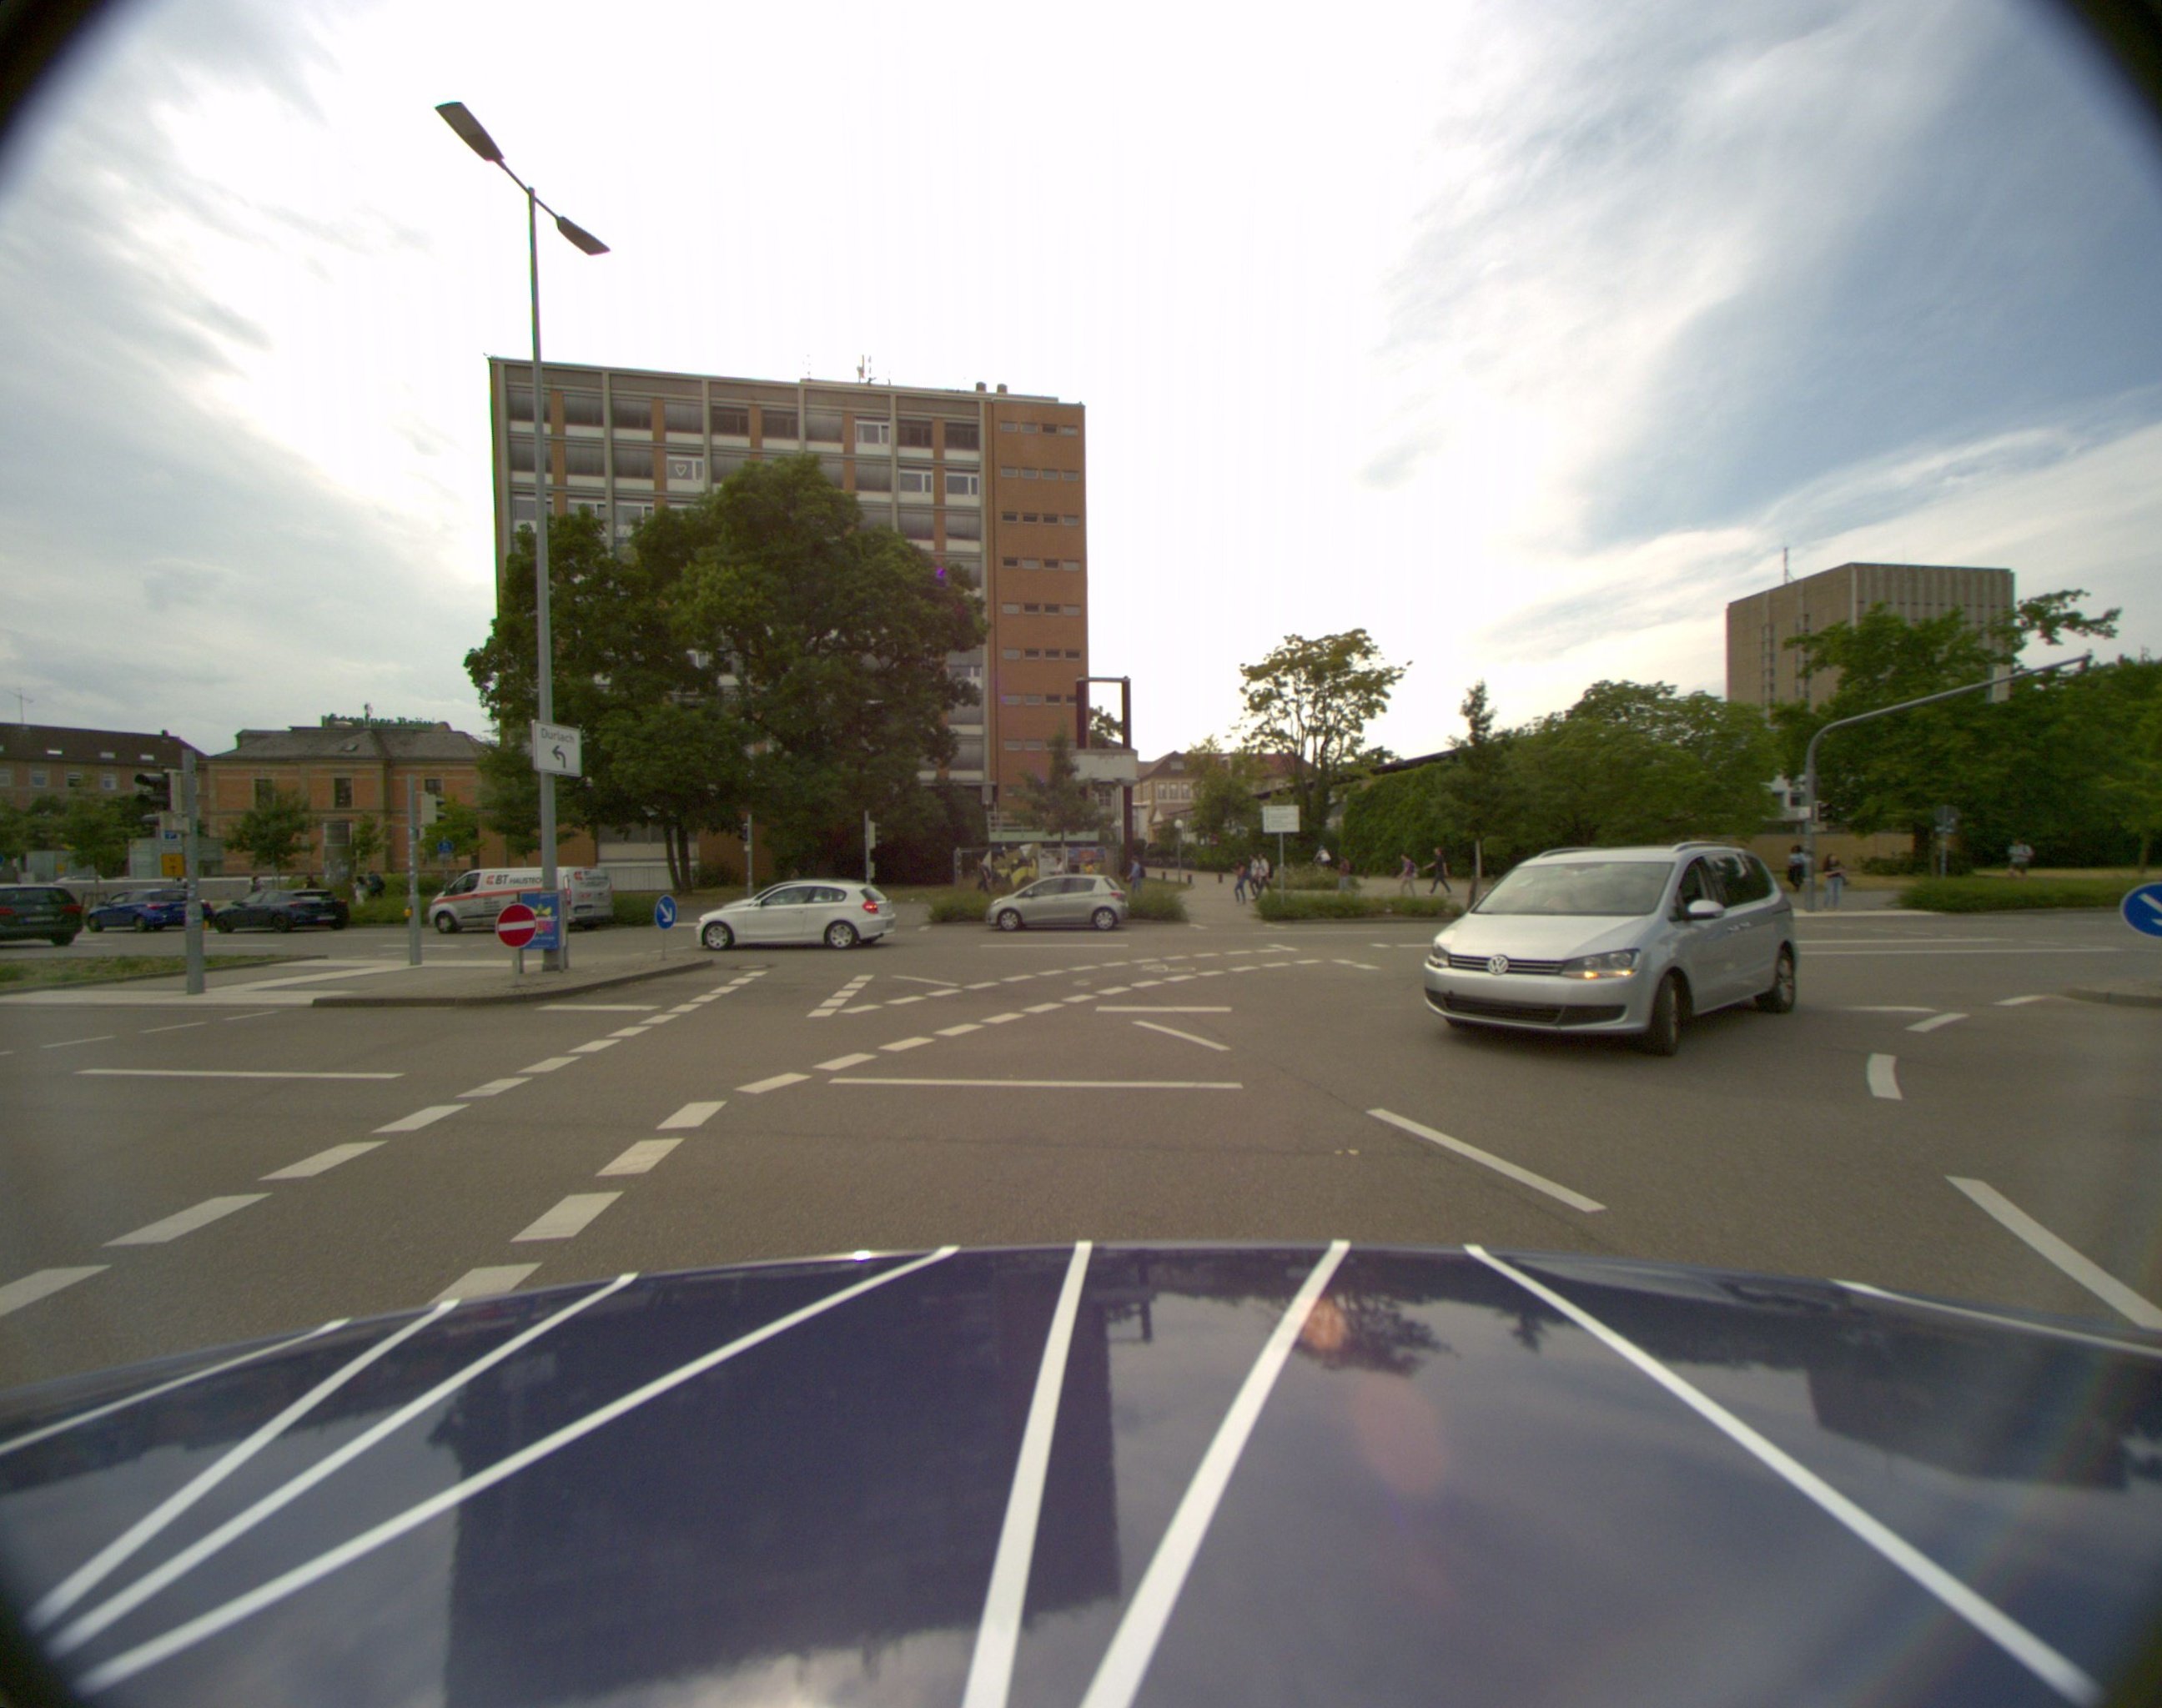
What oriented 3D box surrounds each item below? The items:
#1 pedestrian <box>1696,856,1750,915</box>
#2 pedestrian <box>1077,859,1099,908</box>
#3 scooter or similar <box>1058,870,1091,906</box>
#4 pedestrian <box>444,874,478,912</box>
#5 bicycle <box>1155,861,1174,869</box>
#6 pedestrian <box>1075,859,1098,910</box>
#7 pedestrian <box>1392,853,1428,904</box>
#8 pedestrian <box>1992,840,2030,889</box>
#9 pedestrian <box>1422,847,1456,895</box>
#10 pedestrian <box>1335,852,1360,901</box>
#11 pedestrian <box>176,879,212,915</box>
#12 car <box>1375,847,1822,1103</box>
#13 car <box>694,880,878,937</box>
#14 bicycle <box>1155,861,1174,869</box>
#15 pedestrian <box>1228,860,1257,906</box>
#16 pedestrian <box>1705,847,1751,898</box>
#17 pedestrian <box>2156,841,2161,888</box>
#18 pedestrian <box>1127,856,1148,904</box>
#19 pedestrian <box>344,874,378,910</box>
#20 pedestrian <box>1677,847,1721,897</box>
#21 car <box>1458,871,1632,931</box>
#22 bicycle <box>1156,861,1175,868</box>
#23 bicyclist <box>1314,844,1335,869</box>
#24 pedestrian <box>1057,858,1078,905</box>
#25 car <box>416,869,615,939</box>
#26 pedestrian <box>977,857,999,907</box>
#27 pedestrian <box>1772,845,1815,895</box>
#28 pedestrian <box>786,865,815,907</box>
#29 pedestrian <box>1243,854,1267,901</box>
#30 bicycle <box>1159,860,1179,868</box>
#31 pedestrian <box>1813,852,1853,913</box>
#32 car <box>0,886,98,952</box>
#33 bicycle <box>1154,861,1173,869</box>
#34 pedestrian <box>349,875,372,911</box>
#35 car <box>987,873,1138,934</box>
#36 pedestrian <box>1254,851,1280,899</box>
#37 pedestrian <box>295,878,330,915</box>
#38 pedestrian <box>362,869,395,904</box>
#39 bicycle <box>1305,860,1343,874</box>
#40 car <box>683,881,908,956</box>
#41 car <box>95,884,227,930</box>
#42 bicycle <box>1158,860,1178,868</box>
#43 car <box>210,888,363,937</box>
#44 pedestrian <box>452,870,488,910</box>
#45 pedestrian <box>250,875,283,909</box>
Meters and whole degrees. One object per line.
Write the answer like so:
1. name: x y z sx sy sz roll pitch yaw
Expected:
1. pedestrian: 19.026 0.936 22.531 0.839 1.700 0.800 -2 -1 1
2. pedestrian: 0.245 1.048 26.853 0.708 1.700 0.640 -2 -1 -1
3. scooter or similar: -0.246 1.290 29.008 1.148 1.362 0.398 -1 -1 -14
4. pedestrian: -26.629 1.648 32.622 0.810 1.565 0.781 -1 2 22
5. bicycle: 8.286 1.067 75.218 1.843 0.689 0.652 -2 -1 4
6. pedestrian: 0.184 1.031 26.126 0.708 1.701 0.640 -2 1 -1
7. pedestrian: 11.327 0.831 26.197 0.799 1.700 0.840 -2 -1 -1
8. pedestrian: 33.058 0.368 27.014 0.695 1.687 0.544 -1 2 -8
9. pedestrian: 13.183 0.623 28.003 0.799 1.700 0.840 -2 -1 -1
10. pedestrian: 9.572 0.808 27.307 0.633 1.700 0.673 -2 -1 -1
11. pedestrian: -39.933 1.926 34.203 0.810 1.565 0.781 -1 2 22
12. car: 5.004 0.843 7.144 4.536 1.723 1.821 0 -2 -33
13. car: -8.329 1.529 21.617 4.522 1.465 1.827 -2 -2 8
14. bicycle: 8.472 1.119 77.043 1.843 0.689 0.652 -2 -1 4
15. pedestrian: 5.625 0.992 26.512 0.799 1.534 0.839 -2 3 -1
16. pedestrian: 22.010 0.638 25.854 0.800 1.700 0.838 -1 -1 -19
17. pedestrian: 39.685 0.376 27.370 0.695 1.700 0.842 -1 -1 -8
18. pedestrian: 2.078 0.943 27.956 0.708 1.701 0.640 -2 2 -1
19. pedestrian: -31.877 1.675 33.641 0.810 1.565 0.781 -1 2 22
20. pedestrian: 21.656 0.631 26.646 0.800 1.700 0.838 -1 -1 -19
21. car: 11.985 1.199 19.805 3.453 1.406 1.673 -2 -2 6
22. bicycle: 8.165 1.017 73.545 1.843 0.689 0.652 -2 -1 4
23. bicyclist: 12.838 0.160 40.072 1.011 1.269 0.841 -2 -1 14
24. pedestrian: -0.500 1.016 28.141 0.708 1.701 0.640 -2 0 -1
25. car: -17.162 1.499 23.116 5.196 1.947 1.827 -2 -2 11
26. pedestrian: -3.490 1.051 28.561 0.708 1.842 0.640 -2 1 -1
27. pedestrian: 24.939 0.558 26.599 0.800 1.700 0.714 -1 -1 -8
28. pedestrian: -10.924 1.230 29.602 0.811 1.565 0.780 -2 2 -1
29. pedestrian: 6.415 0.875 28.049 0.708 1.700 0.640 -2 -1 -1
30. bicycle: 8.149 0.920 70.442 1.843 0.689 0.667 -2 -1 4
31. pedestrian: 21.539 0.816 21.757 0.587 1.700 0.481 -2 -1 1
32. car: -29.201 1.736 20.283 4.678 1.640 1.762 -2 -2 12
33. bicycle: 8.257 1.093 76.033 1.843 0.689 0.652 -2 -1 4
34. pedestrian: -31.914 1.722 33.663 0.551 1.528 0.548 -2 2 -24
35. car: -0.436 1.323 20.670 3.871 1.480 1.673 -2 -2 7
36. pedestrian: 6.674 0.753 27.328 0.708 1.700 0.640 -2 -1 -1
37. pedestrian: -34.367 1.899 33.983 0.810 1.565 0.781 -1 2 22
38. pedestrian: -32.481 1.504 35.131 0.810 1.565 0.781 -1 2 22
39. bicycle: 12.794 0.696 40.079 1.842 0.689 0.844 -2 -2 12
40. car: -6.124 1.369 16.579 4.219 1.449 1.761 -2 -2 4
41. car: -32.435 1.875 26.808 3.627 1.499 1.674 -2 -2 17
42. bicycle: 8.253 0.967 72.032 1.843 0.689 0.652 -2 -1 4
43. car: -26.700 1.959 25.578 3.994 1.523 1.866 -2 -2 15
44. pedestrian: -25.095 1.476 31.221 0.810 1.565 0.781 -1 2 18
45. pedestrian: -39.341 1.814 36.699 0.810 1.565 0.781 -1 2 22
